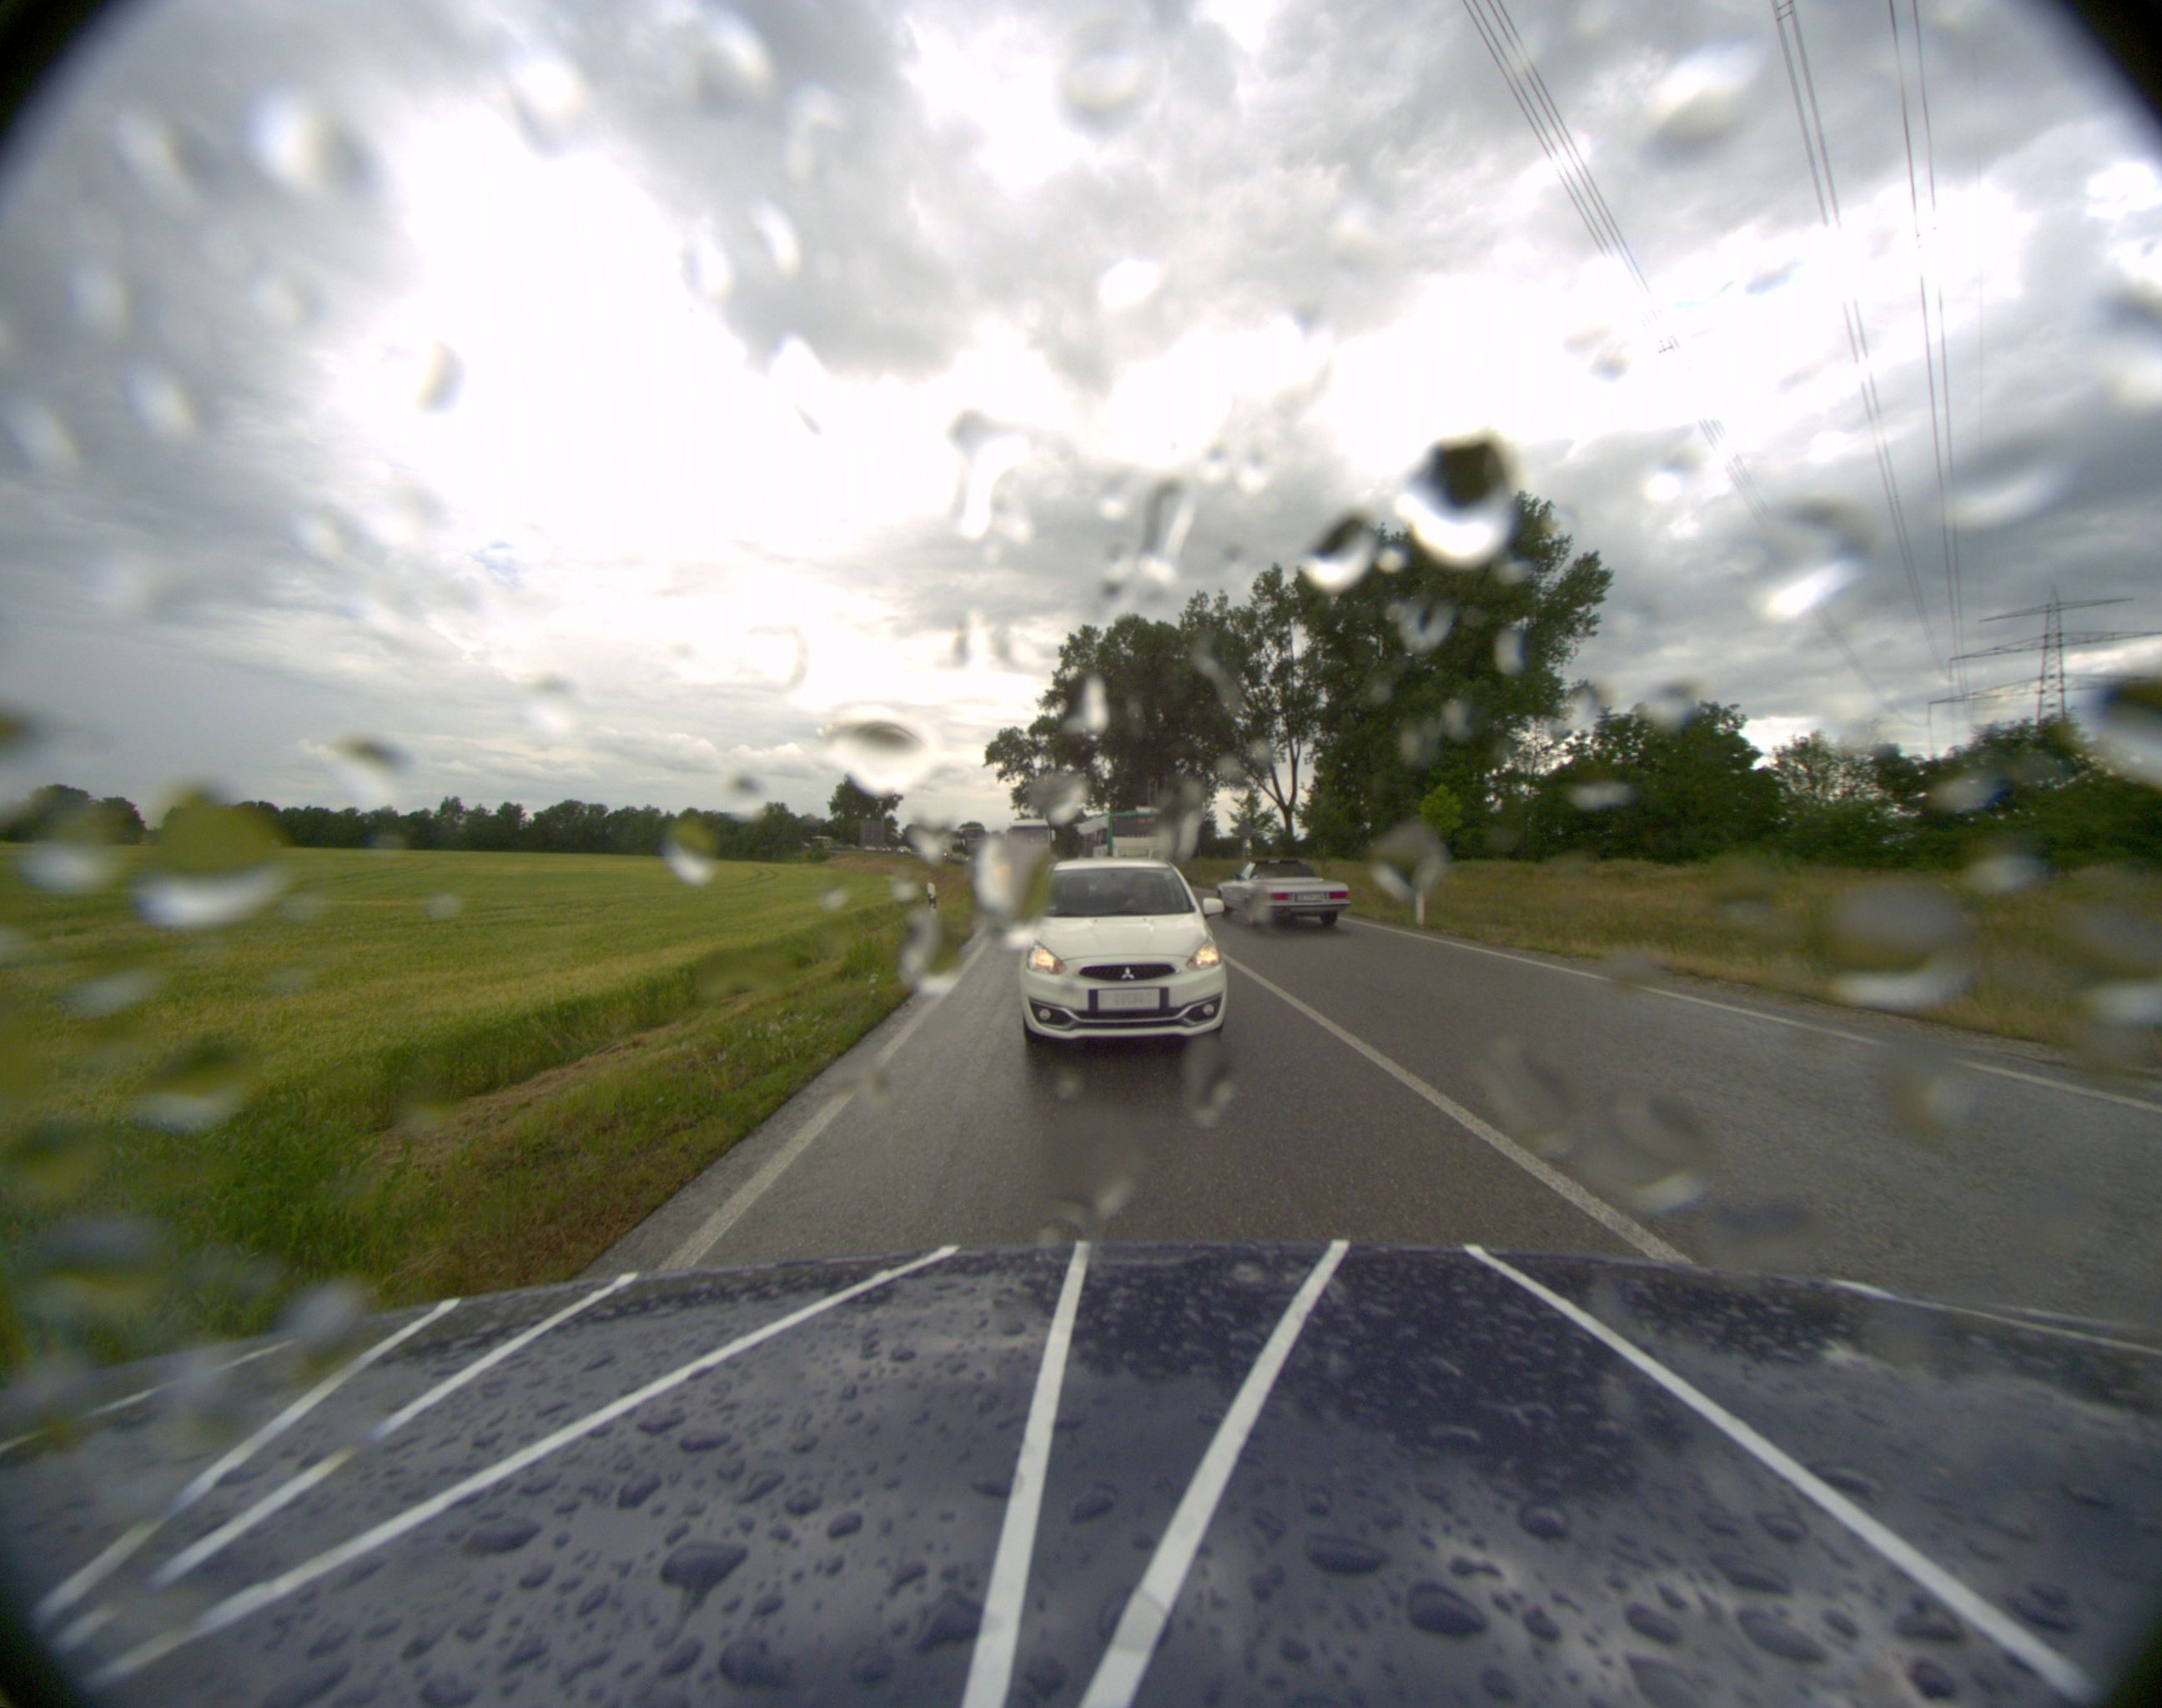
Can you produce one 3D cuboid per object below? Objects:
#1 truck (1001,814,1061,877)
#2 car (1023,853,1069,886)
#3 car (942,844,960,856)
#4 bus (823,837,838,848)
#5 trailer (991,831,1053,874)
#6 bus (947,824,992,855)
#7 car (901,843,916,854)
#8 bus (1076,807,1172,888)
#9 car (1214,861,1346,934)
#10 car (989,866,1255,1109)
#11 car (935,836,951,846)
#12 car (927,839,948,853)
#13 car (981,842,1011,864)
[{"bbox_3d":[-3.229,-0.548,47.494,2.986,3.590,6.073,-2,2,-10],"label":"truck"},{"bbox_3d":[-1.751,0.699,36.595,1.782,1.380,4.324,-2,2,-8],"label":"car"},{"bbox_3d":[-17.802,-0.533,103.926,1.816,1.569,3.993,-3,2,-19],"label":"car"},{"bbox_3d":[-68.947,-3.249,209.218,2.003,2.899,6.991,-3,2,-32],"label":"bus"},{"bbox_3d":[-4.673,-0.244,55.946,2.986,2.618,15.664,-2,2,-10],"label":"trailer"},{"bbox_3d":[-13.429,-1.836,90.190,2.968,3.294,14.810,-2,2,-17],"label":"bus"},{"bbox_3d":[-31.957,-0.979,140.458,2.002,2.002,4.223,-3,2,-23],"label":"car"},{"bbox_3d":[1.764,-0.296,37.693,2.766,3.279,12.494,-2,0,-6],"label":"bus"},{"bbox_3d":[3.962,0.809,15.818,1.723,1.244,3.999,0,1,0],"label":"car"},{"bbox_3d":[0.219,0.878,6.844,1.653,1.461,4.030,-2,0,-1],"label":"car"},{"bbox_3d":[-28.080,-2.562,154.206,2.002,2.002,4.110,-3,2,-27],"label":"car"},{"bbox_3d":[-21.819,-1.274,115.560,2.002,2.002,5.325,-3,2,-23],"label":"car"},{"bbox_3d":[-8.037,-0.125,71.391,2.044,1.832,5.328,-2,2,-15],"label":"car"}]
